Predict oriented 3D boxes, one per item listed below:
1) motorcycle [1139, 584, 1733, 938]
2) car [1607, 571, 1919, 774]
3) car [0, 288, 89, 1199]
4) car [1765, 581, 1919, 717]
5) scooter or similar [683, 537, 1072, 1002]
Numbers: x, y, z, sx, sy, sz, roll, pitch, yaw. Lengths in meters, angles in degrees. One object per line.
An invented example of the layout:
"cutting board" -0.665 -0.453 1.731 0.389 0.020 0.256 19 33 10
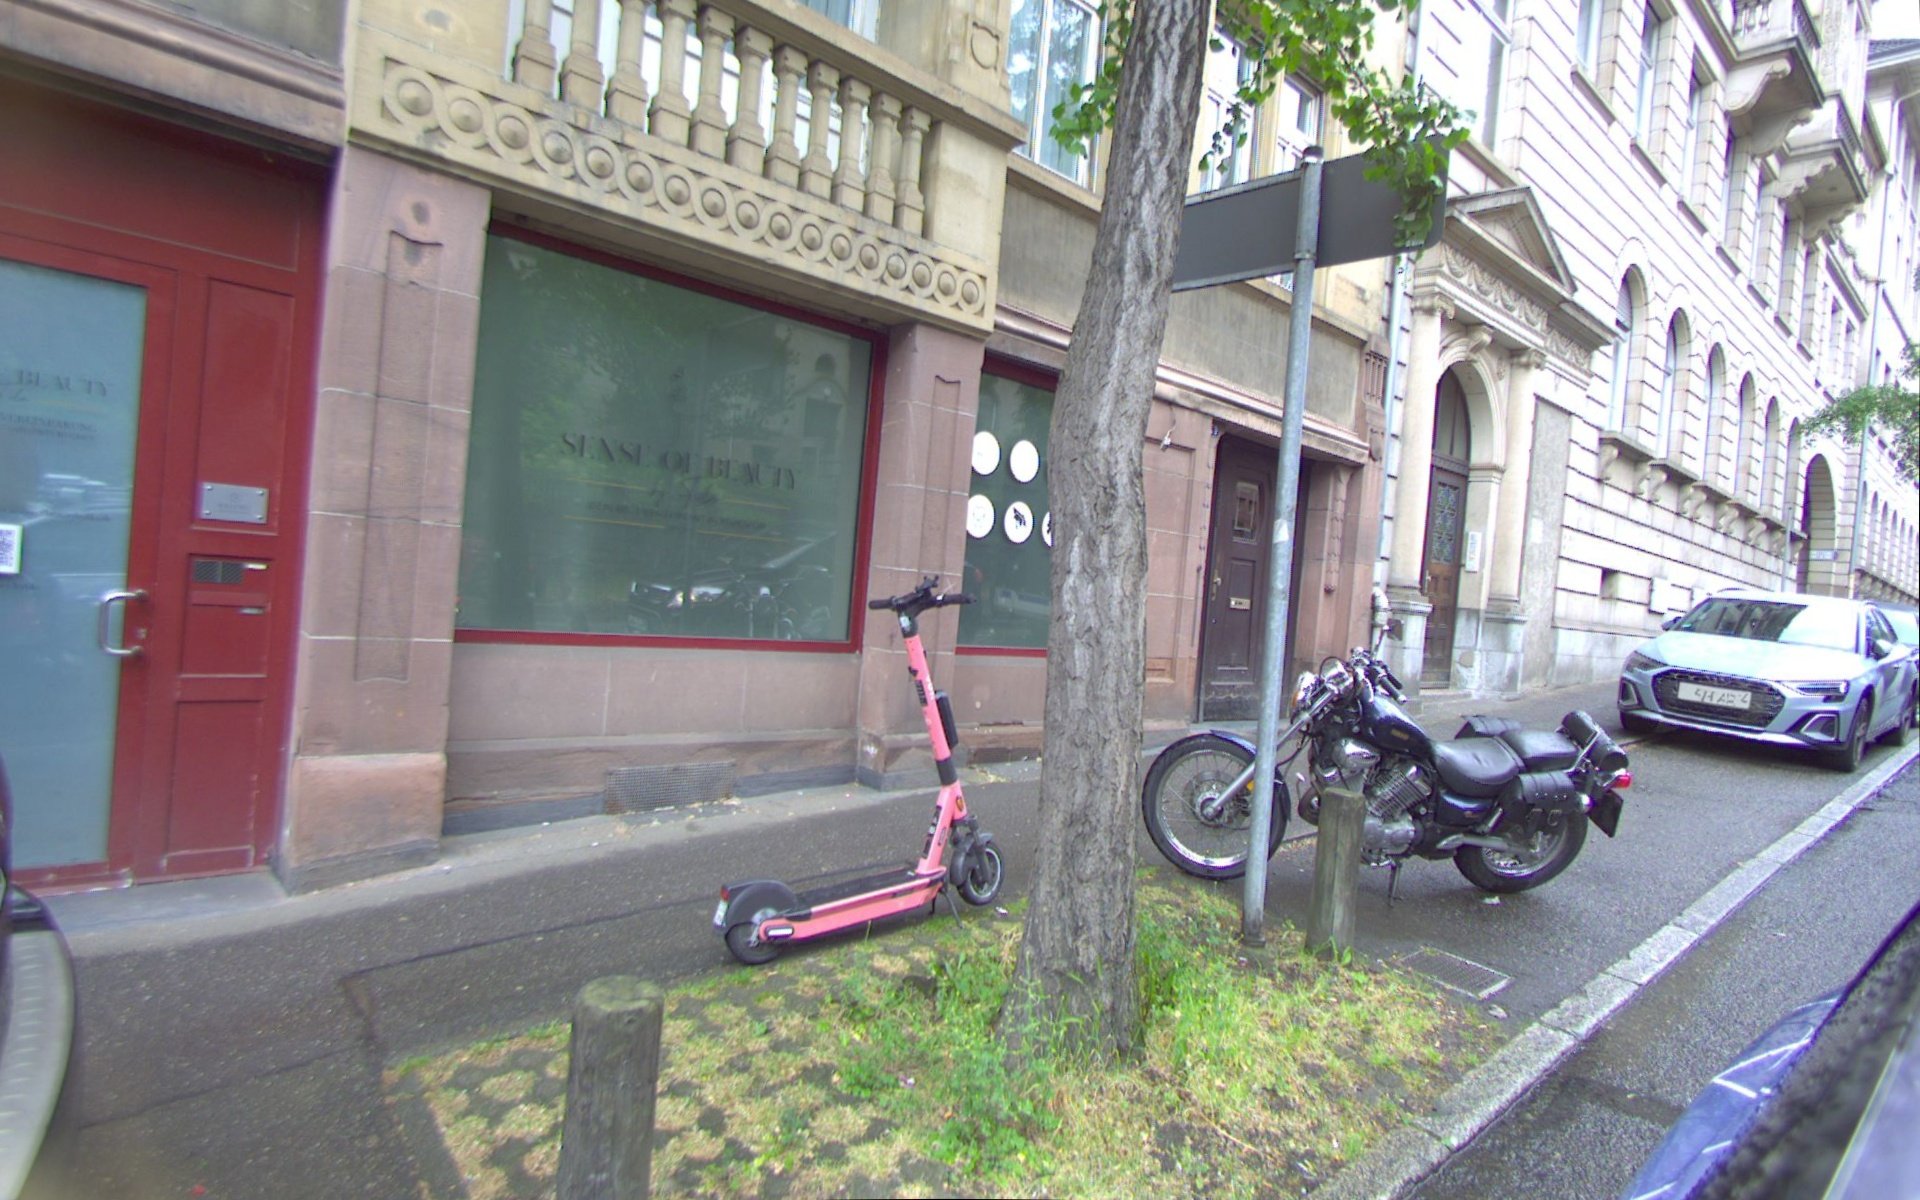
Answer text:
"motorcycle" 2.000 0.669 4.414 2.232 1.258 0.525 5 3 -2
"car" 8.105 0.564 9.908 3.967 1.469 1.795 0 5 -40
"car" -2.965 0.441 0.313 4.025 1.670 1.765 0 7 -40
"car" 11.966 0.573 13.290 3.124 1.466 1.496 0 5 -40
"scooter or similar" -0.262 0.482 3.527 1.182 1.334 0.594 1 3 -41
